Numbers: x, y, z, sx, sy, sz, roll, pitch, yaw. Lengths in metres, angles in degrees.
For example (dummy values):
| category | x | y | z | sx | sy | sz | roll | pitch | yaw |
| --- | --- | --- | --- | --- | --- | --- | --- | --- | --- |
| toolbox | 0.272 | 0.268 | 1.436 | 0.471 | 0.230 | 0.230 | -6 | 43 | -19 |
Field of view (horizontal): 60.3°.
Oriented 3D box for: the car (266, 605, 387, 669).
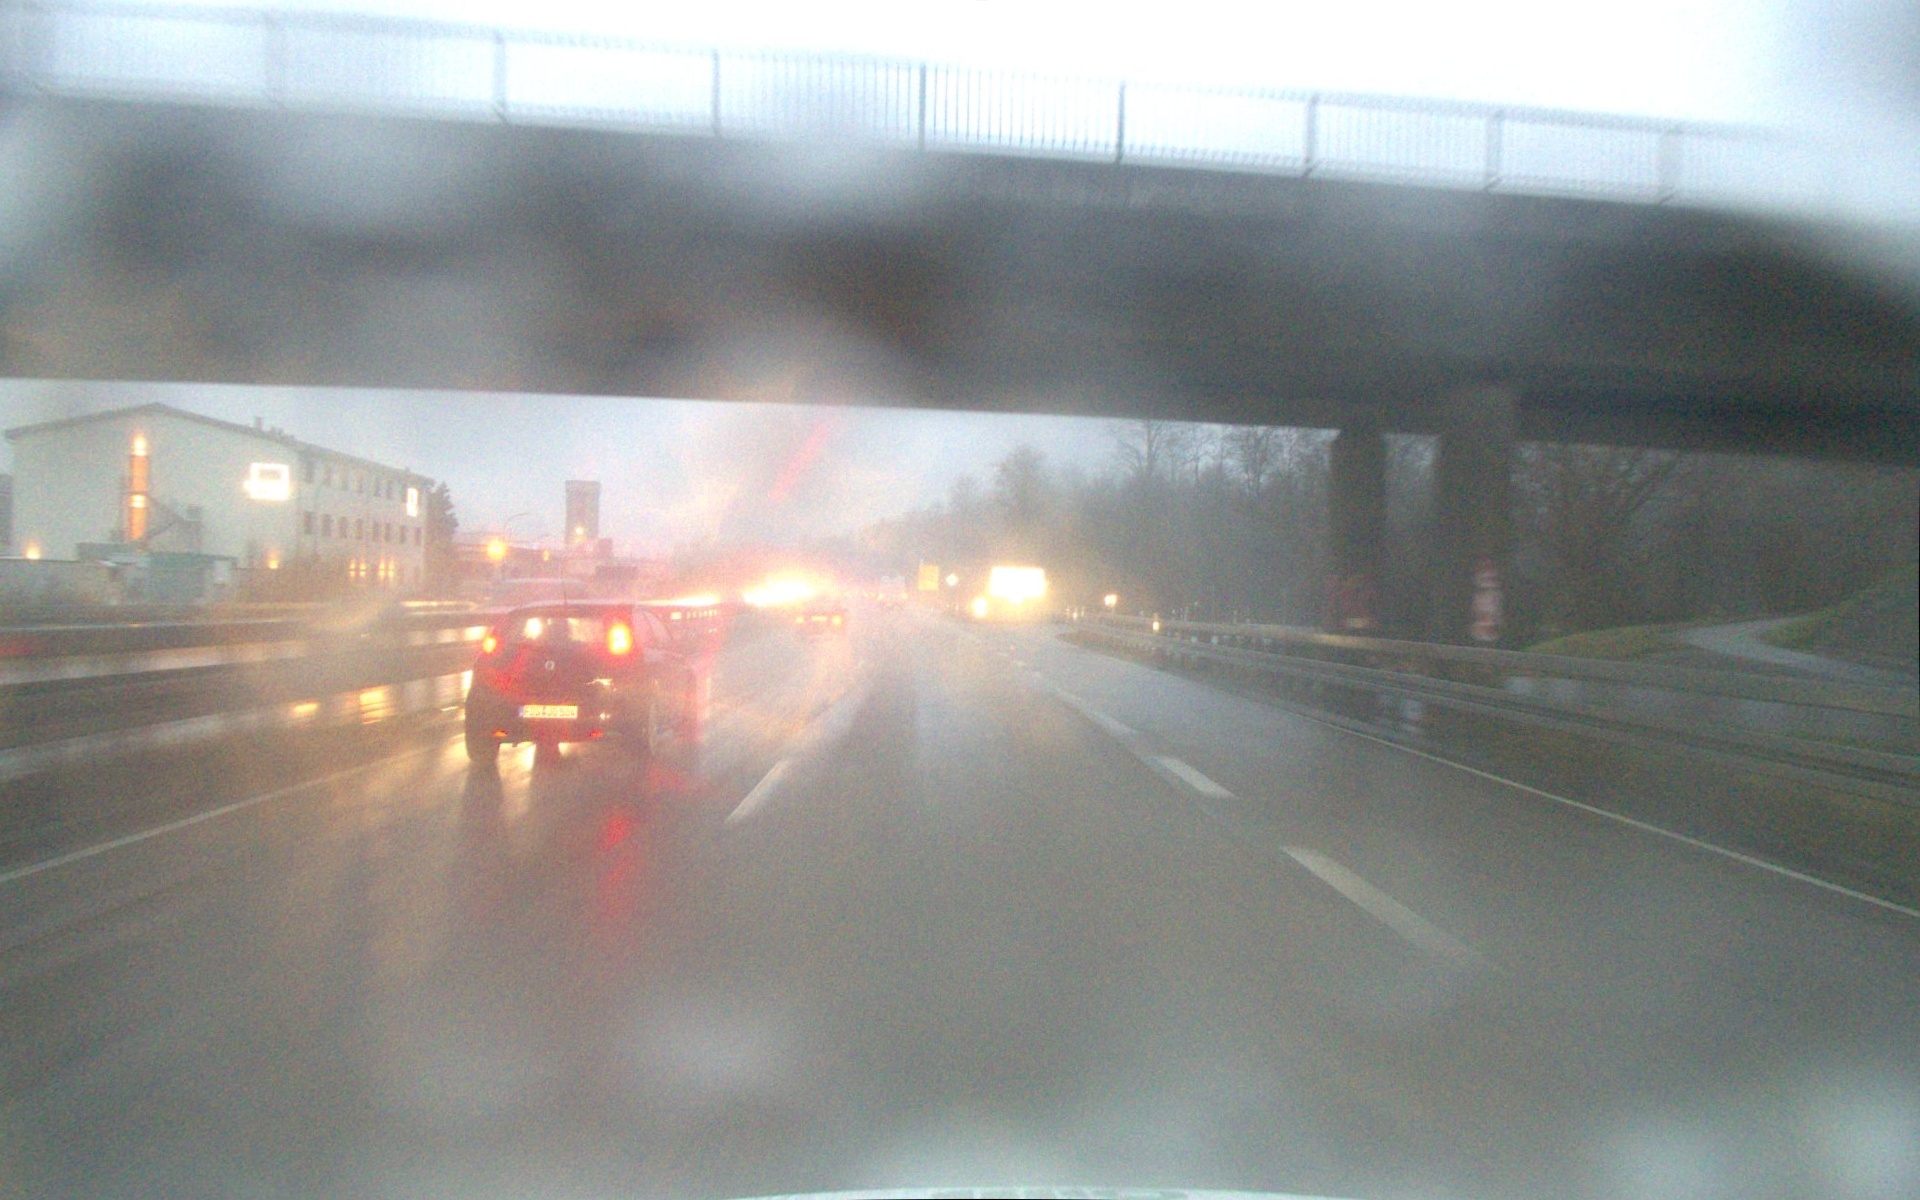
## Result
| category | x | y | z | sx | sy | sz | roll | pitch | yaw |
| --- | --- | --- | --- | --- | --- | --- | --- | --- | --- |
| car | -13.469 | 0.763 | 35.340 | 1.405 | 1.243 | 3.366 | 1 | 1 | -2 |

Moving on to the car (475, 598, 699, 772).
| category | x | y | z | sx | sy | sz | roll | pitch | yaw |
| --- | --- | --- | --- | --- | --- | --- | --- | --- | --- |
| car | -3.598 | 0.759 | 16.486 | 1.497 | 1.440 | 3.478 | 3 | 1 | -2 |

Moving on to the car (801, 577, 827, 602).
| category | x | y | z | sx | sy | sz | roll | pitch | yaw |
| --- | --- | --- | --- | --- | --- | --- | --- | --- | --- |
| car | -13.670 | -0.999 | 154.589 | 2.084 | 2.157 | 3.568 | 3 | 0 | -9 |

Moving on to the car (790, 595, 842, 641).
| category | x | y | z | sx | sy | sz | roll | pitch | yaw |
| --- | --- | --- | --- | --- | --- | --- | --- | --- | --- |
| car | -5.034 | 0.594 | 58.253 | 1.741 | 1.561 | 4.698 | 0 | 0 | -4 |

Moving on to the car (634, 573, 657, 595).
| category | x | y | z | sx | sy | sz | roll | pitch | yaw |
| --- | --- | --- | --- | --- | --- | --- | --- | --- | --- |
| car | -27.618 | -1.400 | 145.156 | 1.856 | 1.853 | 3.864 | 3 | 0 | -10 |

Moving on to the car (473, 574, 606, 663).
| category | x | y | z | sx | sy | sz | roll | pitch | yaw |
| --- | --- | --- | --- | --- | --- | --- | --- | --- | --- |
| car | -10.087 | 0.389 | 40.067 | 1.954 | 1.905 | 5.268 | 3 | 1 | -2 |
